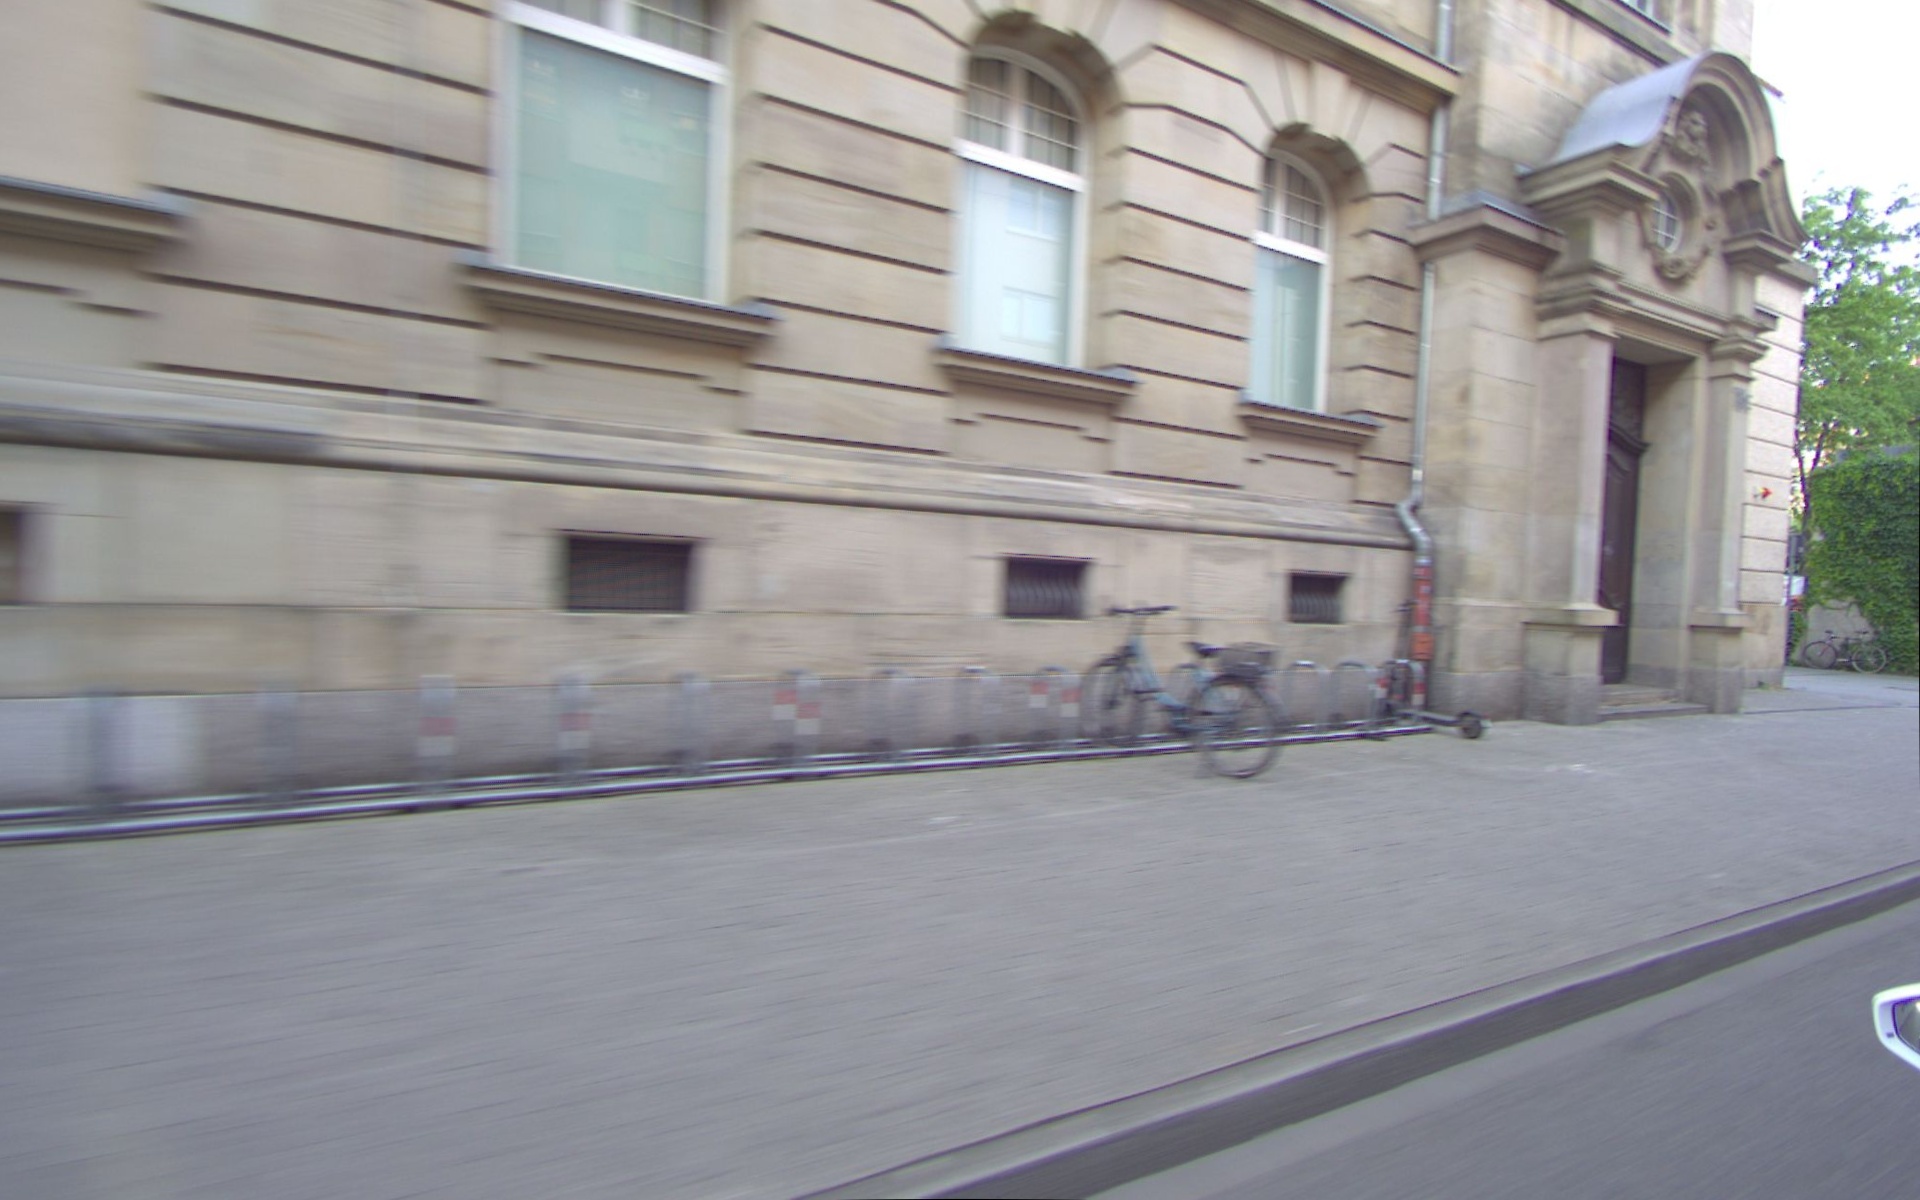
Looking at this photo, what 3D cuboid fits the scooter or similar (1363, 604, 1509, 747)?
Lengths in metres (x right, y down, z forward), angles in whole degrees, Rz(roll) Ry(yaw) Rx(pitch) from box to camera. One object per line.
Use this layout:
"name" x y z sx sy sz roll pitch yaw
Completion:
"scooter or similar" 4.617 0.698 9.777 0.493 1.249 1.122 0 3 -42

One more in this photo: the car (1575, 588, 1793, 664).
"car" 19.008 0.621 26.566 2.041 1.783 4.203 1 1 -28

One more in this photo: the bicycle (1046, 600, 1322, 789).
"bicycle" 1.607 0.627 7.499 0.616 1.076 1.917 1 5 -45

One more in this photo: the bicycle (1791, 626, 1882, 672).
"bicycle" 22.016 1.217 25.264 0.366 1.027 1.652 1 2 -28
